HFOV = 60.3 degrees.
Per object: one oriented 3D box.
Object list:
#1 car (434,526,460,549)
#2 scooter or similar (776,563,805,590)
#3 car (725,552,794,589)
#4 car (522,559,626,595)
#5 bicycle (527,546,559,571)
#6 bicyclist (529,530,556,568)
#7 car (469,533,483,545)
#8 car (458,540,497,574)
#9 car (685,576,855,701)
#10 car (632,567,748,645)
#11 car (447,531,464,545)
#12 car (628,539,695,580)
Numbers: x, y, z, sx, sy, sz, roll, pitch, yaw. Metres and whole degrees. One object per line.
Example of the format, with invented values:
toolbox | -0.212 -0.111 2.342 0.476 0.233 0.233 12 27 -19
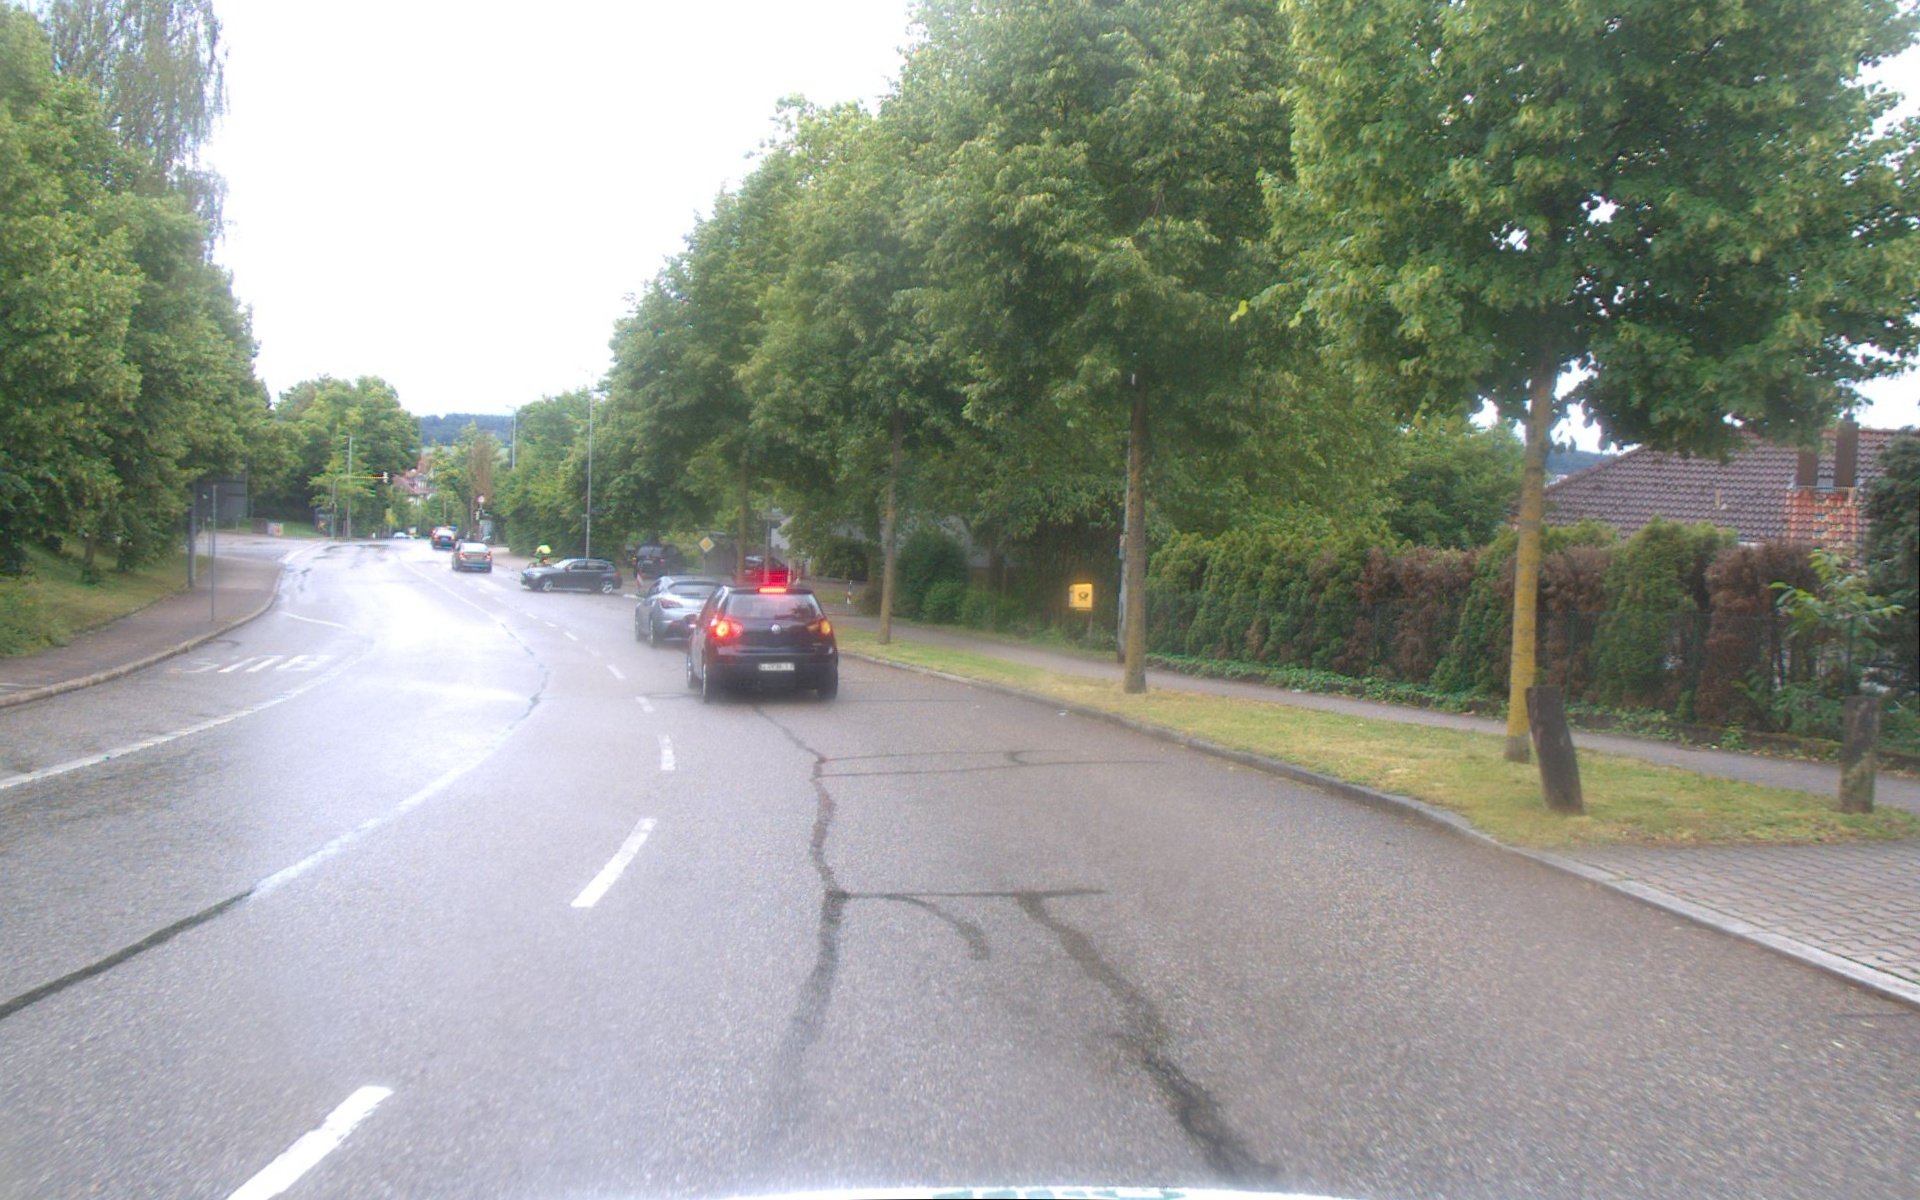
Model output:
car | -38.377 -4.671 123.681 1.695 1.489 3.980 5 1 -19
scooter or similar | -8.347 -1.178 81.471 1.319 1.308 0.557 0 2 -27
car | -10.043 -1.529 83.195 1.715 1.494 4.570 5 5 16
car | -16.545 -0.992 70.885 4.074 1.408 1.713 2 0 -26
bicycle | -20.140 -1.994 79.807 0.844 1.175 2.013 1 1 -35
bicyclist | -20.127 -2.460 79.806 0.844 1.786 1.270 1 1 -35
car | -59.726 -7.540 204.165 1.694 1.489 3.983 0 2 -16
car | -24.634 -2.211 84.400 1.695 1.489 3.980 5 1 -19
car | -2.632 0.456 22.149 1.693 1.489 3.984 2 0 -15
car | -5.820 0.090 35.276 1.728 1.489 3.978 1 2 -20
car | -59.746 -7.365 195.798 1.695 1.489 3.980 5 1 -19
car | -15.149 -2.112 84.158 1.906 1.718 4.909 4 5 7
